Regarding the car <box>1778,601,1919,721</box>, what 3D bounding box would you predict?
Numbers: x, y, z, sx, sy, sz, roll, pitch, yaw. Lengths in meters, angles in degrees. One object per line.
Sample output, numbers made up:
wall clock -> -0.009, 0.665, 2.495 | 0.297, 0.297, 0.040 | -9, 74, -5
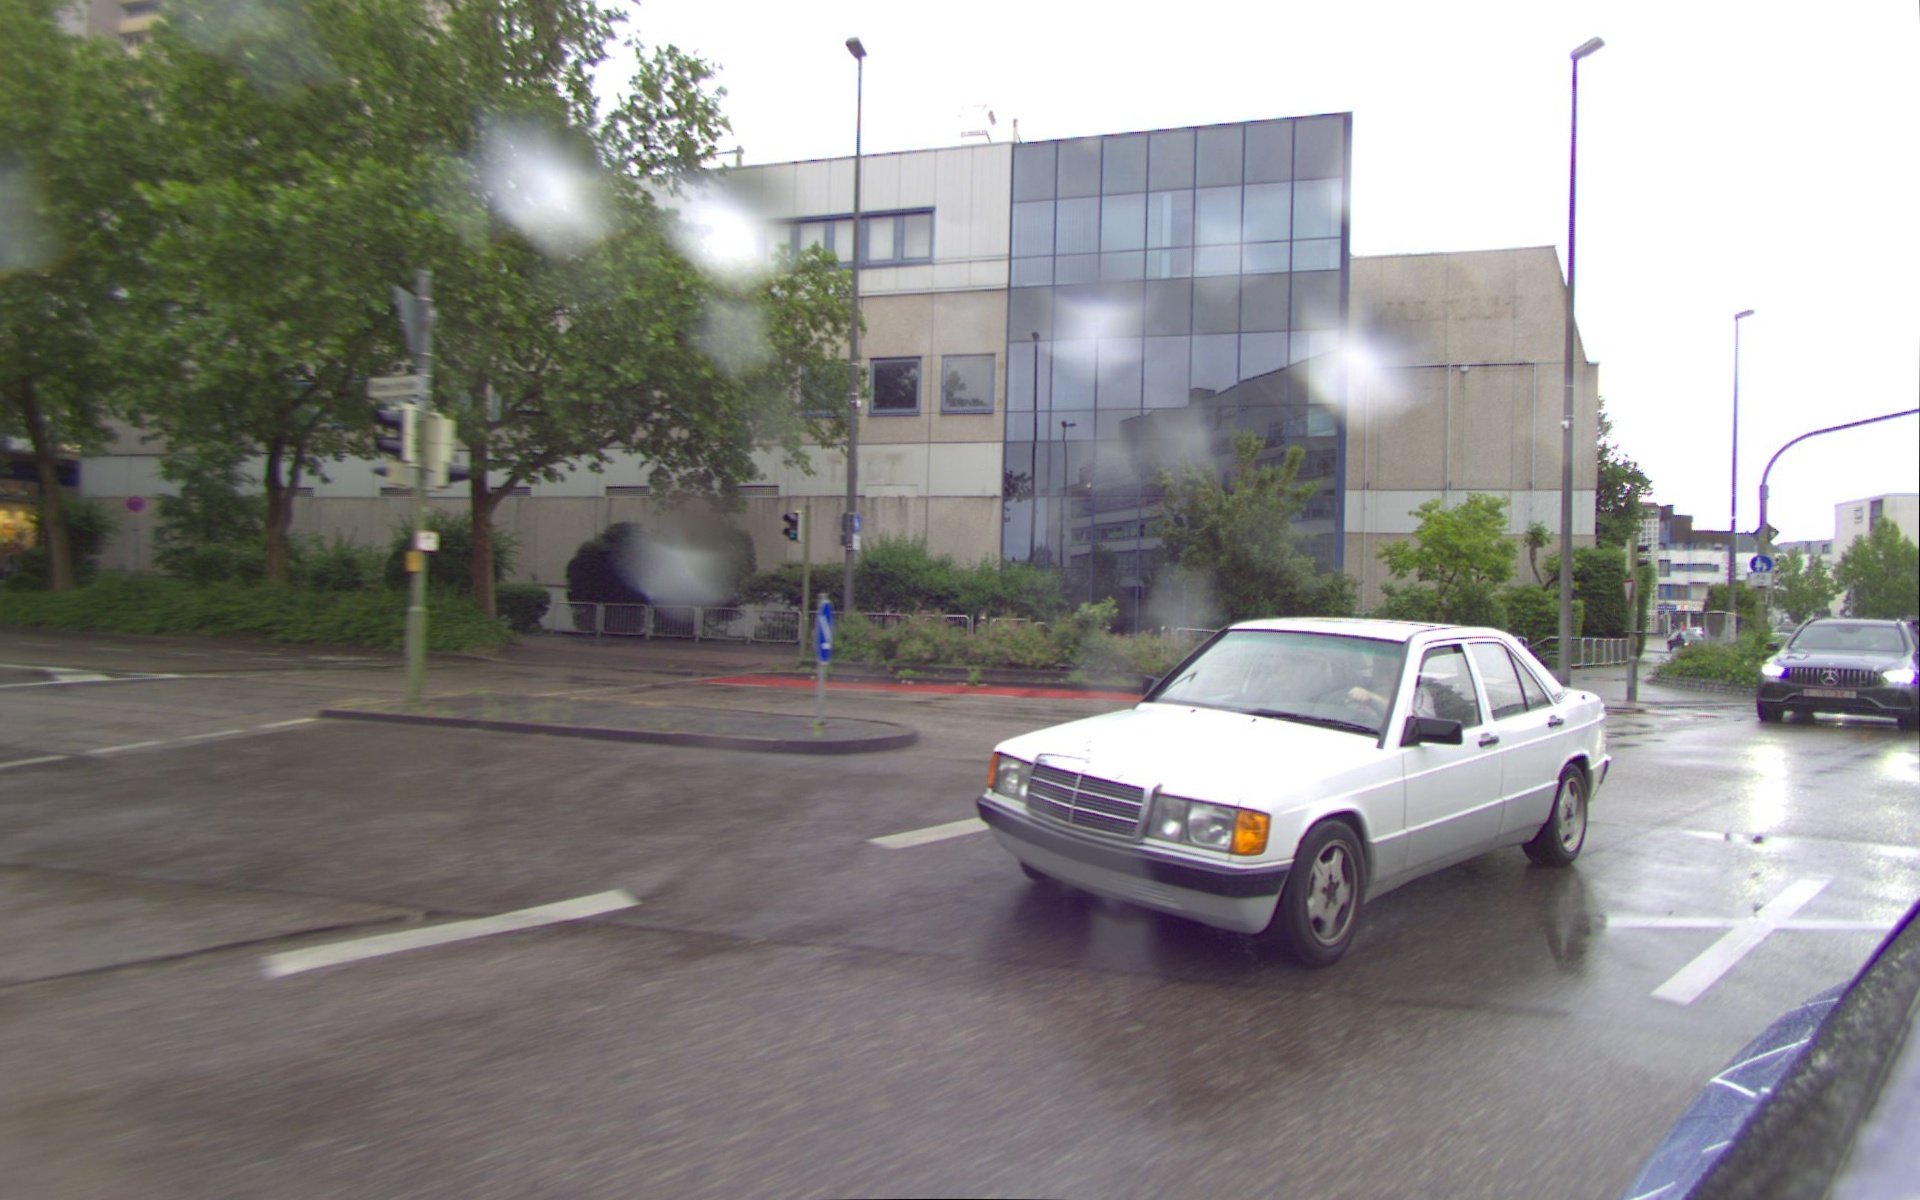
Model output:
car -> 14.154, 0.901, 15.963 | 1.898, 1.642, 4.274 | 0, -2, 39

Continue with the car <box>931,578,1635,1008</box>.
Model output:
car -> 1.997, 0.653, 5.478 | 4.193, 1.466, 1.637 | 0, 1, -40

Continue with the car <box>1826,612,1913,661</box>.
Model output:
car -> 37.825, 1.475, 42.207 | 1.987, 1.918, 4.532 | 0, -1, 33

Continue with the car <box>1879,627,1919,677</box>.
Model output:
car -> 28.908, 1.557, 30.536 | 1.630, 1.404, 4.446 | 0, -2, 41

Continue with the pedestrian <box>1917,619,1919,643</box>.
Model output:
pedestrian -> 81.613, 2.606, 85.407 | 0.894, 2.040, 0.971 | 1, -2, 18

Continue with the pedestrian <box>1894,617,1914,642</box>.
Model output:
pedestrian -> 80.142, 2.498, 85.901 | 0.894, 2.040, 0.971 | 1, -2, 18
